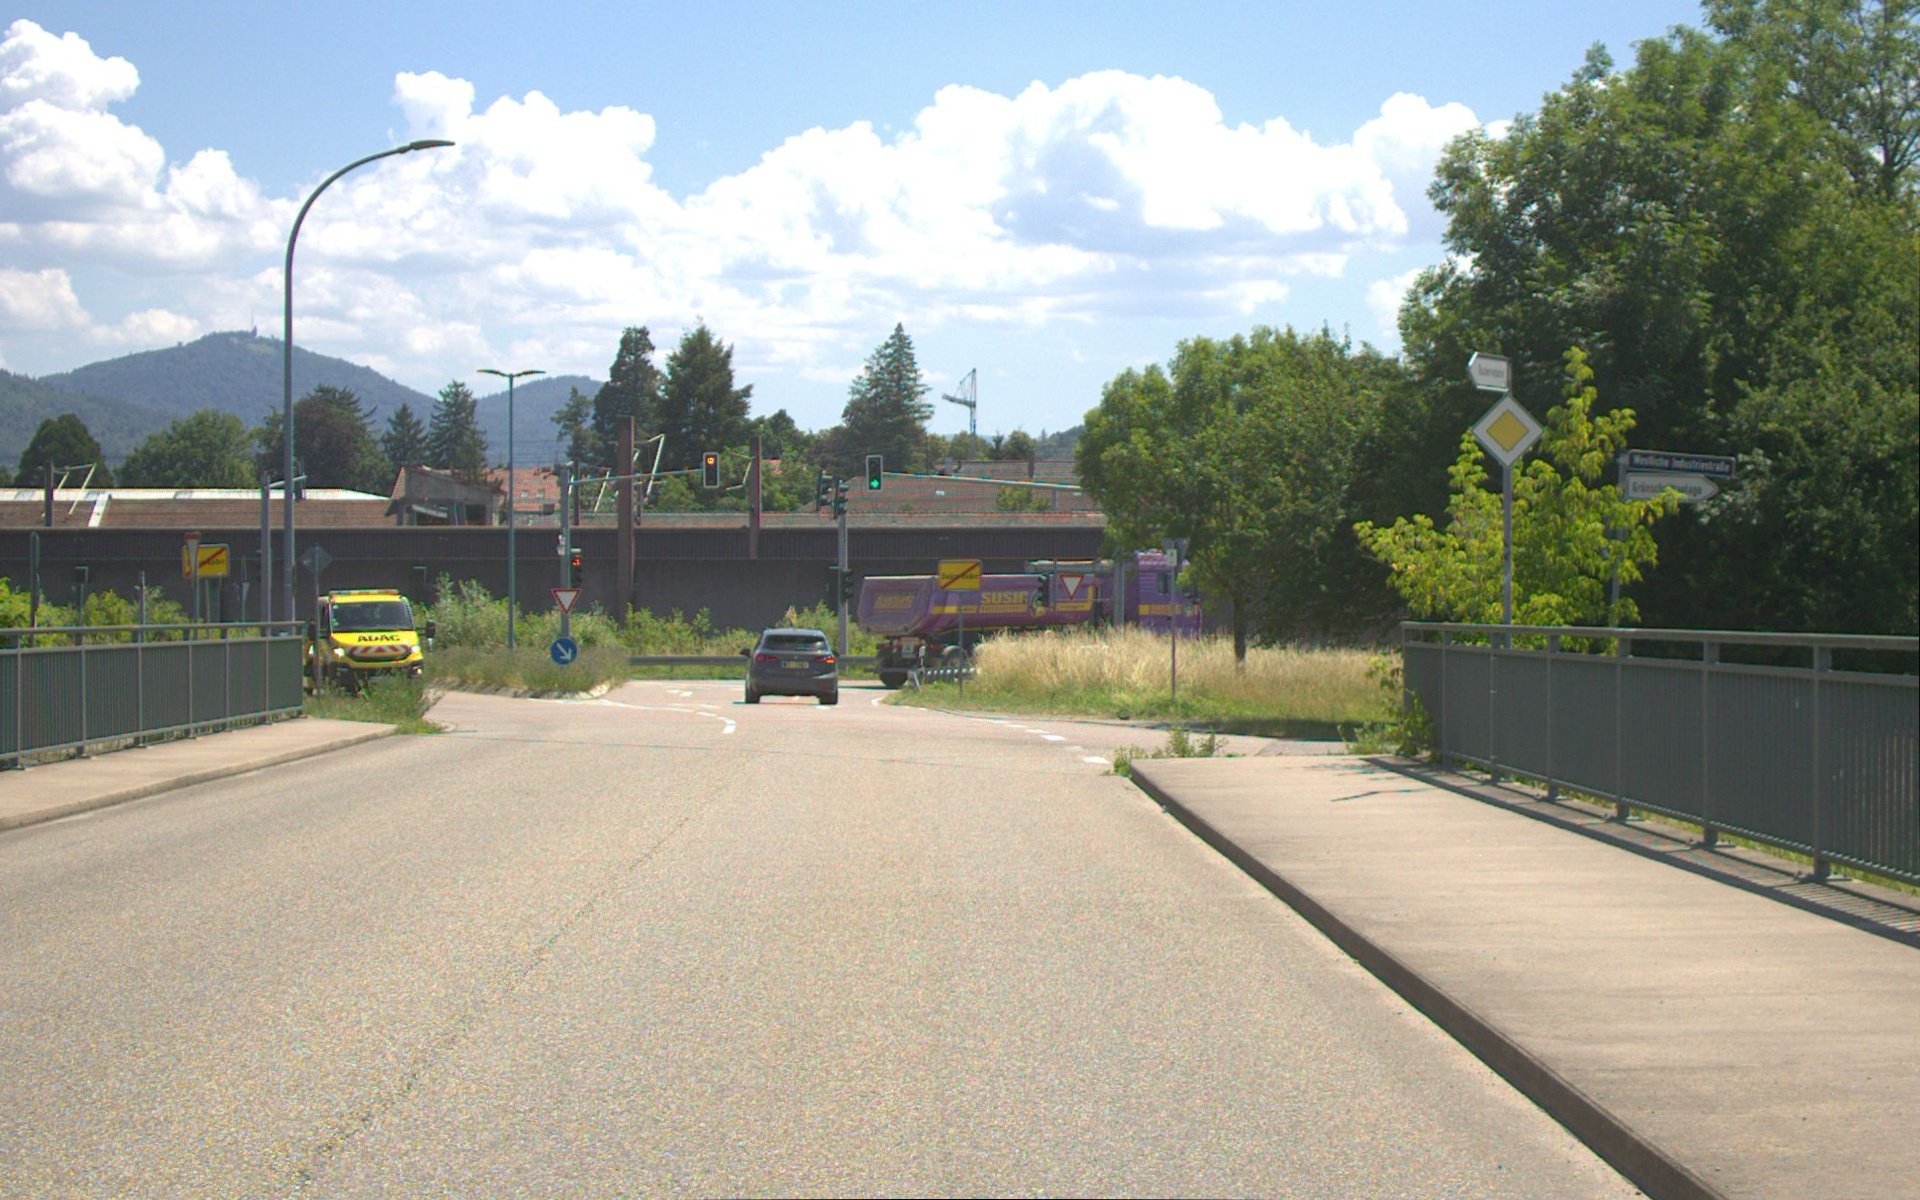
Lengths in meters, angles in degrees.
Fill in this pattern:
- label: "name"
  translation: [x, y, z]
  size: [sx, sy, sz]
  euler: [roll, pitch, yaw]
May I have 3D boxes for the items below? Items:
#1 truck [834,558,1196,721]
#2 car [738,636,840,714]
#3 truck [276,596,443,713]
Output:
- label: "truck"
  translation: [1.724, 1.212, 96.850]
  size: [3.003, 4.167, 11.776]
  euler: [-1, -3, 43]
- label: "car"
  translation: [-3.563, 1.545, 71.240]
  size: [1.993, 1.498, 4.000]
  euler: [2, -1, -3]
- label: "truck"
  translation: [-13.258, 1.266, 75.372]
  size: [2.310, 2.330, 9.052]
  euler: [-1, -2, -18]
